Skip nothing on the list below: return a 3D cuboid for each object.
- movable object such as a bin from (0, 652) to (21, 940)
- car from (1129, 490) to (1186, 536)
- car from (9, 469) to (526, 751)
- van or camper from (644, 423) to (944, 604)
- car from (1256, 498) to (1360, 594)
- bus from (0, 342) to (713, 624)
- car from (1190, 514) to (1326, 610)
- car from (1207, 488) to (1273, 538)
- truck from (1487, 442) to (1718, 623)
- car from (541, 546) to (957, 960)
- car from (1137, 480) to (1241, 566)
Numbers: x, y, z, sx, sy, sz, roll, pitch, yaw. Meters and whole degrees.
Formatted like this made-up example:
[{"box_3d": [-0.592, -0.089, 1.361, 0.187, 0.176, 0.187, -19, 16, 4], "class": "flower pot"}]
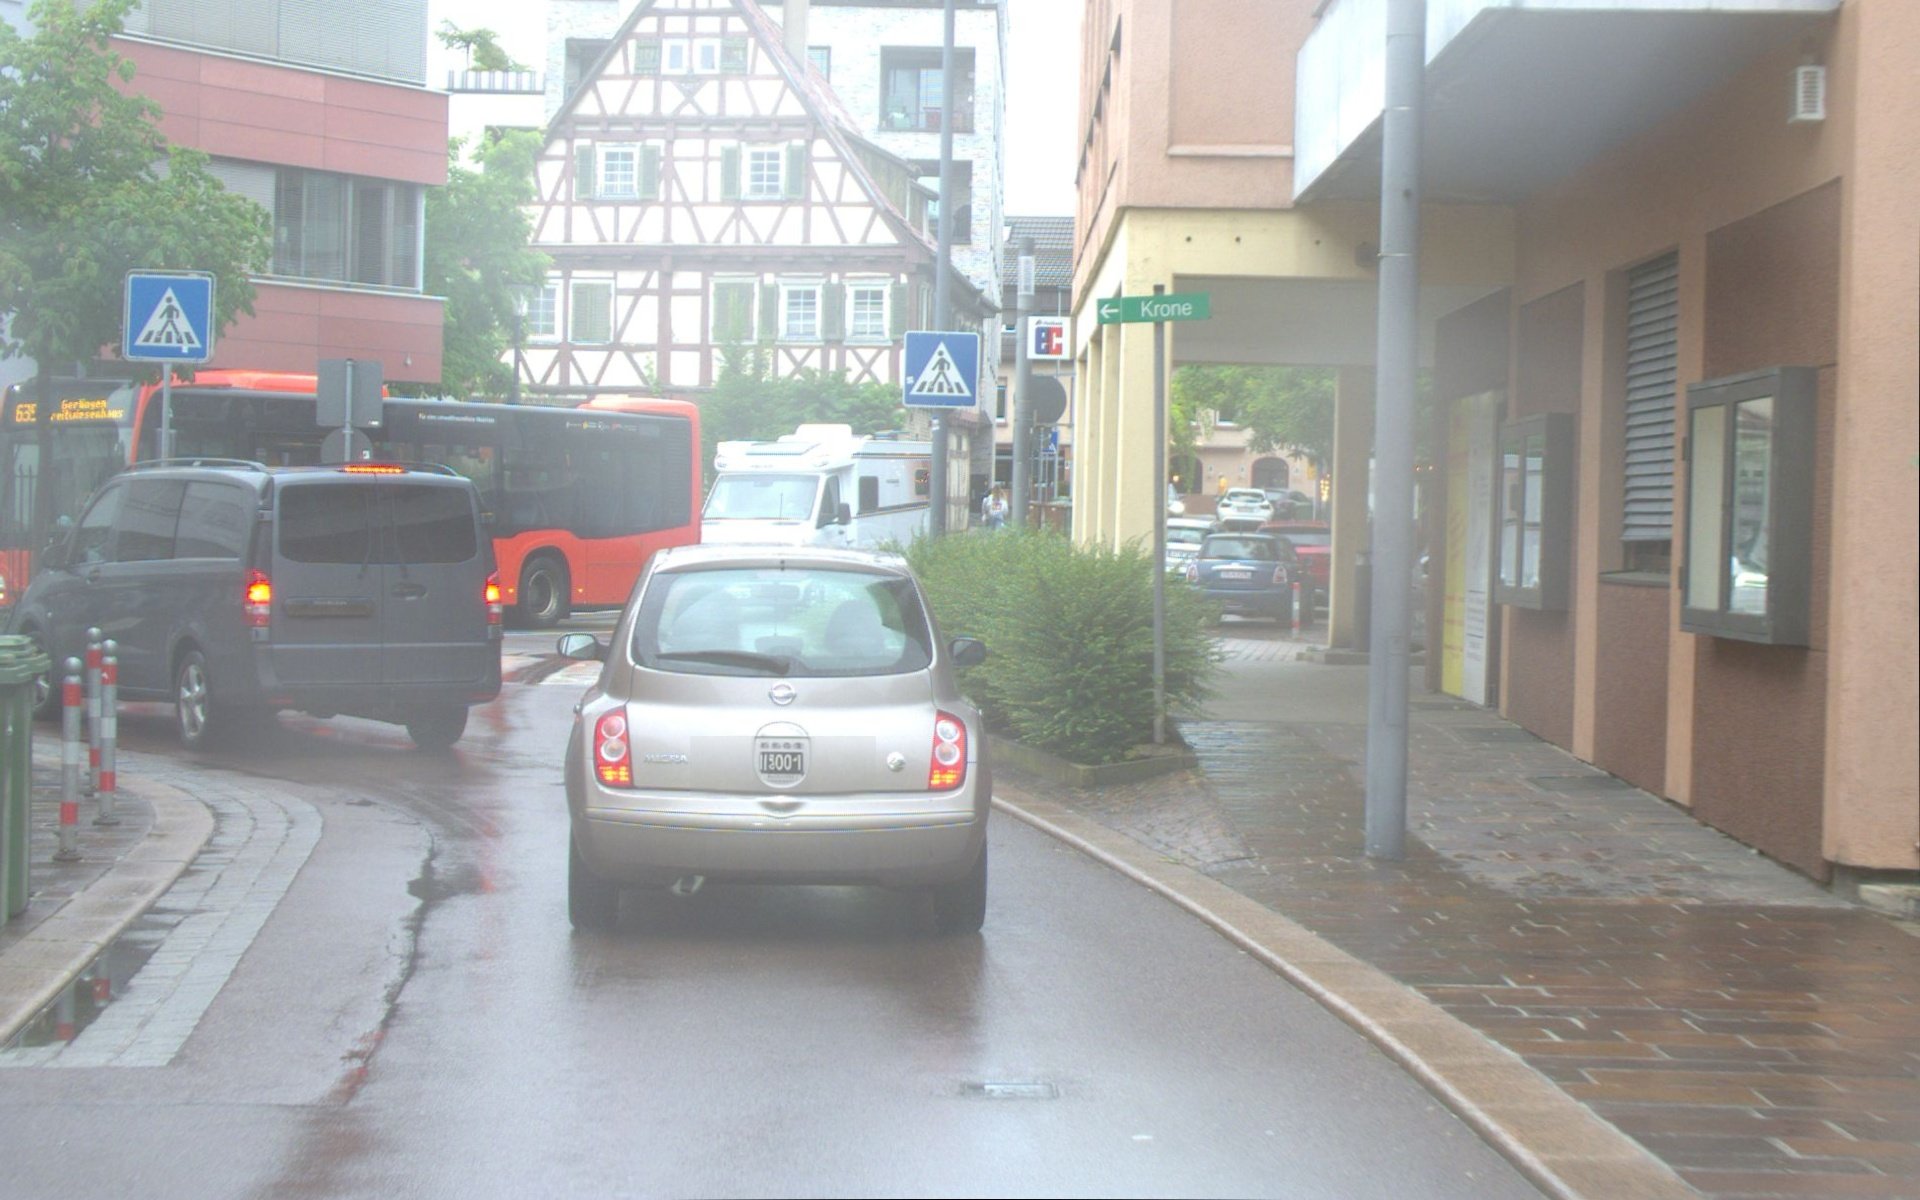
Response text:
[{"box_3d": [-3.889, 0.724, 12.895, 0.656, 1.033, 0.610, 0, 1, -10], "class": "movable object such as a bin"}, {"box_3d": [6.758, -2.979, 118.031, 1.897, 1.503, 3.909, 1, 1, 3], "class": "car"}, {"box_3d": [-4.969, -0.005, 24.117, 1.947, 1.774, 4.727, 0, 2, -33], "class": "car"}, {"box_3d": [-2.466, -1.318, 53.501, 2.440, 2.576, 6.745, 2, 1, 17], "class": "van or camper"}, {"box_3d": [5.764, -0.919, 56.867, 1.624, 1.495, 3.999, -1, 1, 6], "class": "car"}, {"box_3d": [-7.472, -1.424, 43.100, 2.818, 3.078, 10.588, 4, 3, 33], "class": "bus"}, {"box_3d": [4.532, -0.596, 51.944, 1.537, 1.357, 3.371, 2, 2, 13], "class": "car"}, {"box_3d": [8.772, -2.725, 107.890, 1.897, 1.503, 3.909, 1, 1, 3], "class": "car"}, {"box_3d": [6.844, -0.729, 36.966, 1.762, 1.802, 4.000, 1, 1, 1], "class": "truck"}, {"box_3d": [-0.952, 0.548, 14.429, 1.522, 1.465, 3.342, 1, 2, -6], "class": "car"}, {"box_3d": [4.381, -1.485, 66.282, 1.897, 1.568, 4.000, 1, 1, 3], "class": "car"}]
